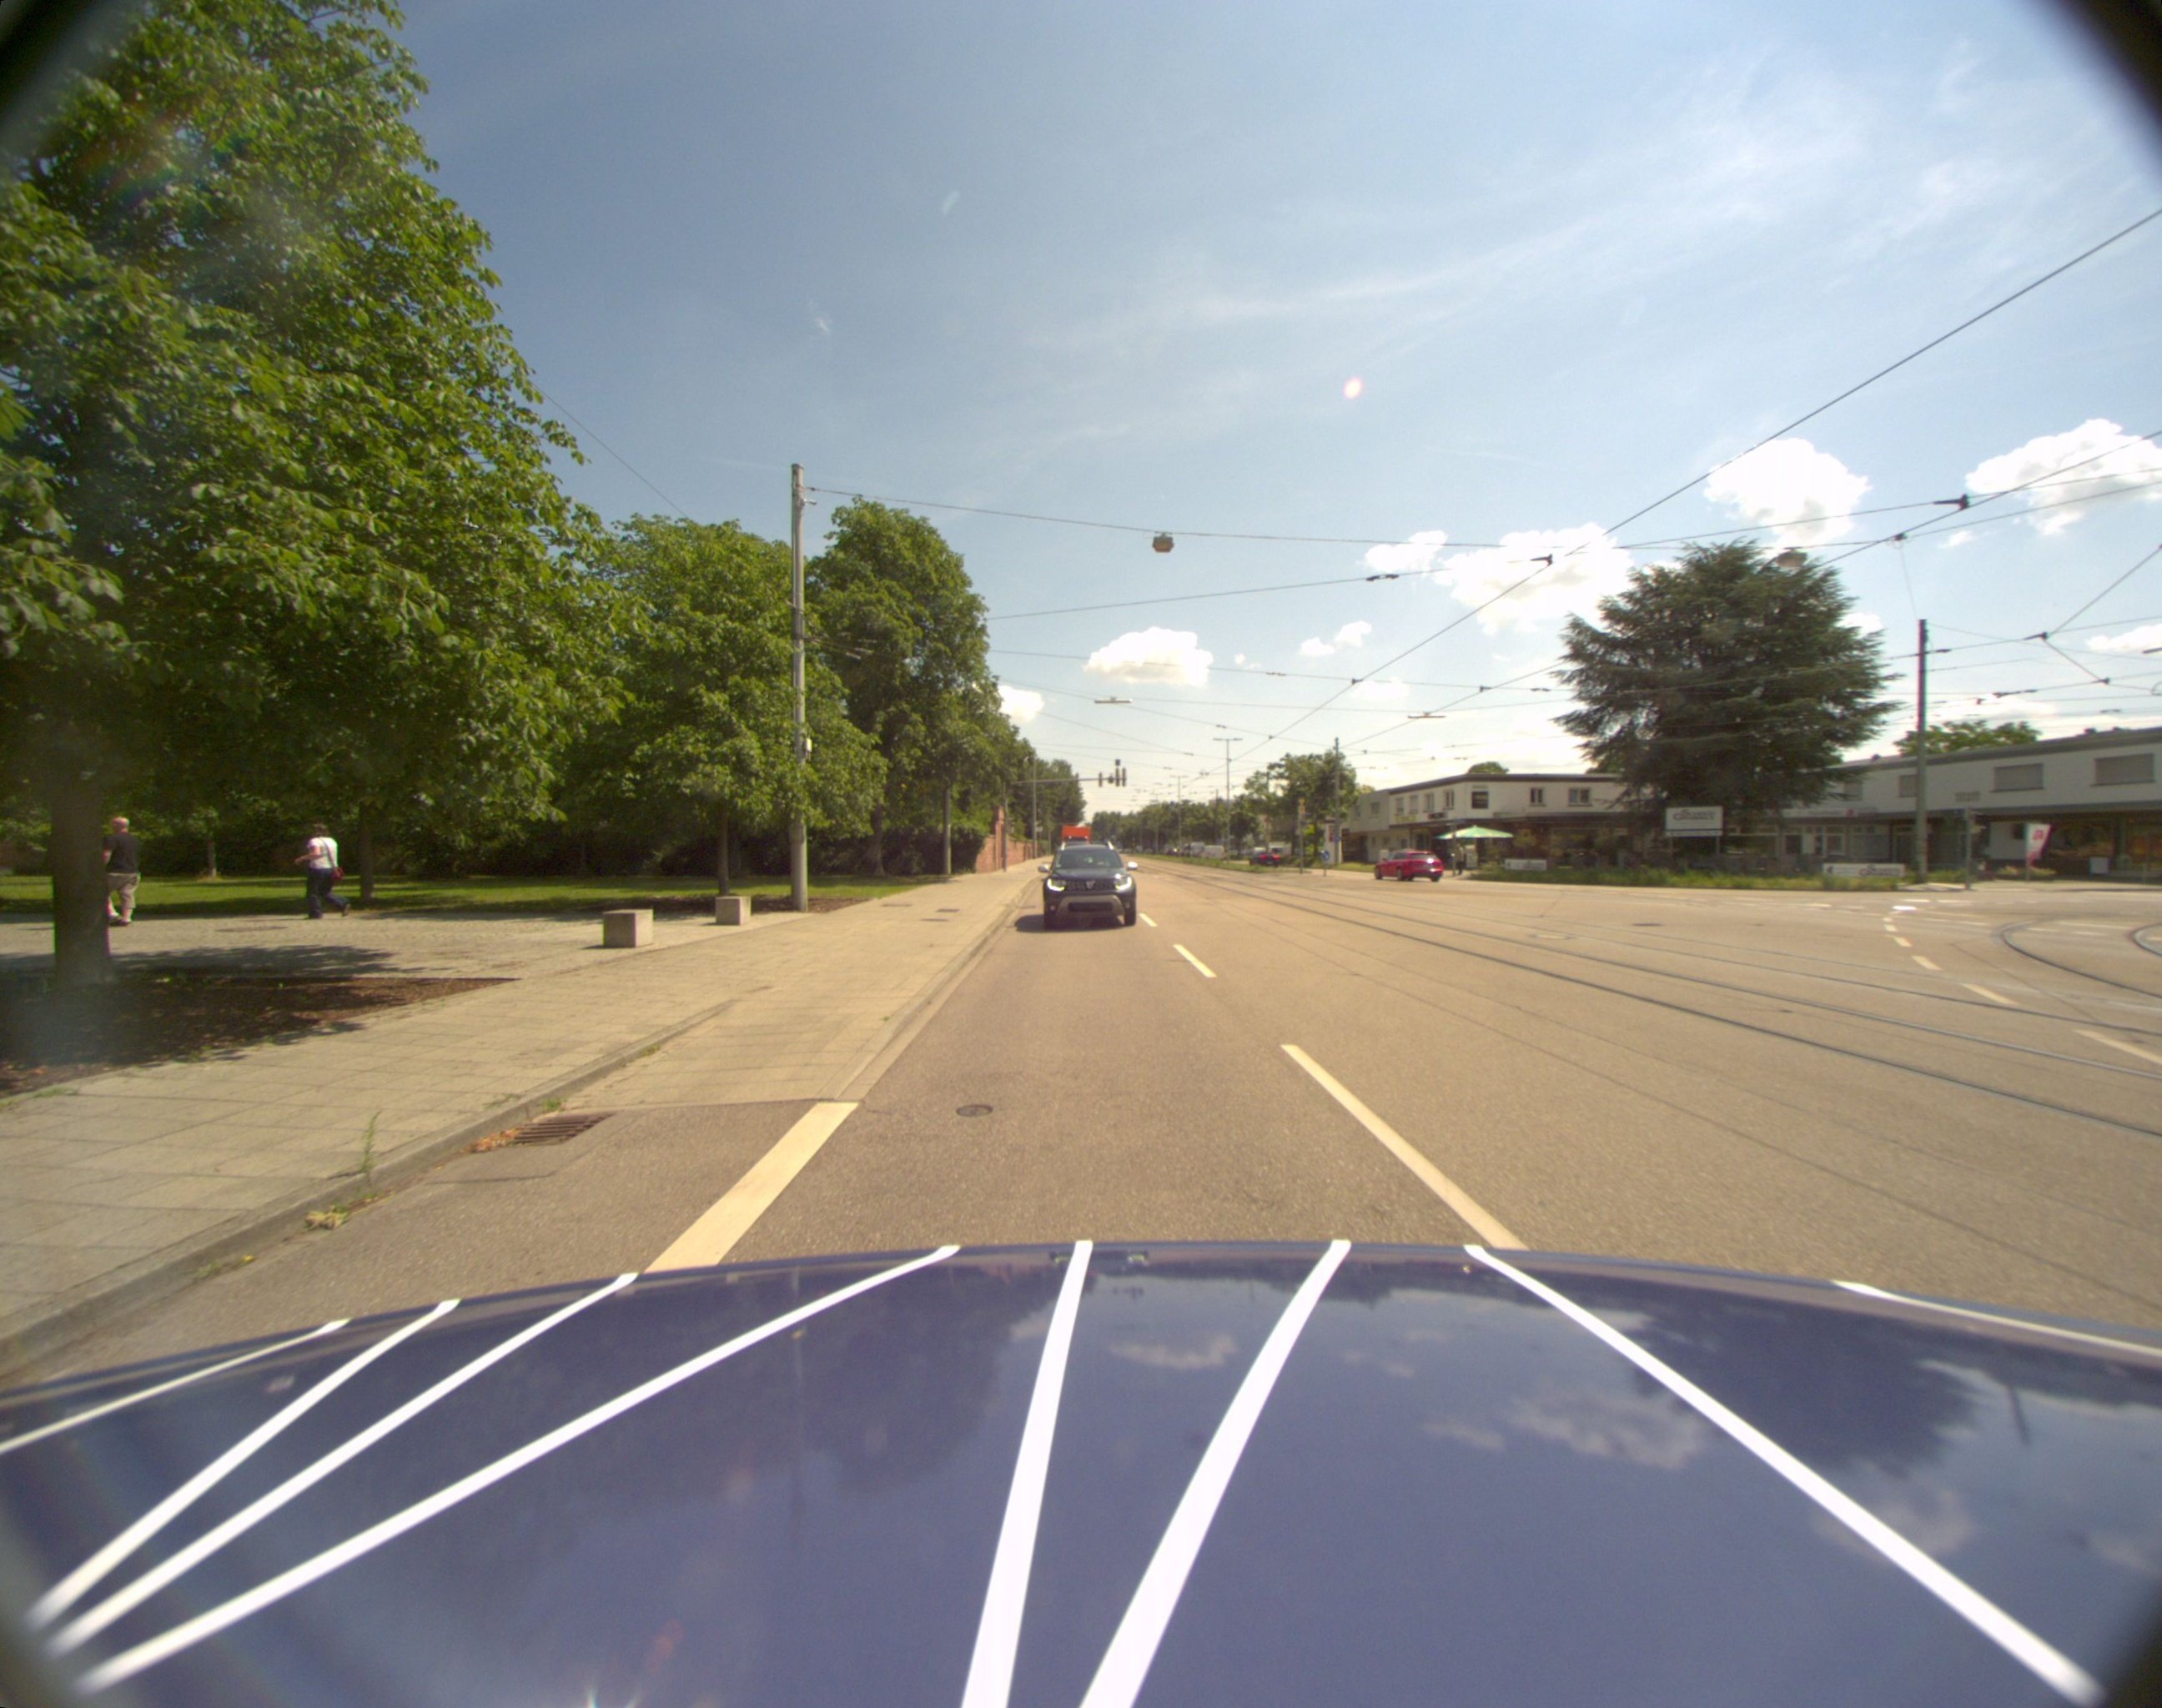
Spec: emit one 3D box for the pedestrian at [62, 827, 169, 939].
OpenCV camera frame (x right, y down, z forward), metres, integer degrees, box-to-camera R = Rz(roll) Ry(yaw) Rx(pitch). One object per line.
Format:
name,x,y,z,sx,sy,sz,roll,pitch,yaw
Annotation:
pedestrian,-15.716,0.452,12.385,0.677,1.770,0.809,0,1,3

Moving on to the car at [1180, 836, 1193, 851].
car,19.332,-1.907,139.686,1.745,2.573,3.999,0,1,-1

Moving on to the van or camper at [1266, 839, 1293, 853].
van or camper,43.688,-1.712,167.305,5.158,3.099,2.247,0,1,0

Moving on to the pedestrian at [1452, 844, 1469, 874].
pedestrian,22.817,0.304,45.637,0.488,1.765,0.682,-5,3,-19

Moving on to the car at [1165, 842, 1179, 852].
car,14.782,-1.100,123.420,1.745,1.587,3.999,0,1,-1

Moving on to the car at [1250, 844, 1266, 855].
car,29.974,-0.776,128.934,1.745,1.684,3.999,0,1,-1

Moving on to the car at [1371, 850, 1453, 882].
car,16.272,0.546,37.690,1.998,1.441,4.821,0,1,1

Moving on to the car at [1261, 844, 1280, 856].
car,28.759,-0.635,115.445,1.745,1.684,3.999,0,1,-1

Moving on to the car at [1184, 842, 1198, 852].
car,19.093,-1.285,132.060,1.745,1.684,3.999,0,1,-1

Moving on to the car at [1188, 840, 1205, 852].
car,18.973,-1.250,124.905,1.967,1.953,3.999,0,1,-1

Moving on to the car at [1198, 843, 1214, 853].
car,19.493,-0.954,118.342,1.745,1.587,3.999,0,1,-1

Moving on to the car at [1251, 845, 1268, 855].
car,28.966,-0.658,123.628,1.745,1.684,3.999,0,1,-1

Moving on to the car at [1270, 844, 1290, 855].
car,28.842,-0.666,110.349,1.745,1.684,3.999,0,1,-1

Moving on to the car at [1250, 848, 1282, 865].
car,16.159,0.197,66.497,1.784,1.346,3.999,0,1,-1

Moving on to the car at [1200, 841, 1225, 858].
car,15.063,-0.520,87.189,1.863,1.865,4.553,0,1,-3

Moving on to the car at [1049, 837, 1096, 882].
car,-0.457,0.208,36.078,1.999,2.002,3.997,0,1,-4

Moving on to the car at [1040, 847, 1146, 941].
car,0.179,0.703,15.925,1.846,1.565,4.486,-2,1,-1

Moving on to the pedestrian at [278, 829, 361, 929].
pedestrian,-14.033,0.440,14.021,0.677,1.788,0.809,0,1,3
